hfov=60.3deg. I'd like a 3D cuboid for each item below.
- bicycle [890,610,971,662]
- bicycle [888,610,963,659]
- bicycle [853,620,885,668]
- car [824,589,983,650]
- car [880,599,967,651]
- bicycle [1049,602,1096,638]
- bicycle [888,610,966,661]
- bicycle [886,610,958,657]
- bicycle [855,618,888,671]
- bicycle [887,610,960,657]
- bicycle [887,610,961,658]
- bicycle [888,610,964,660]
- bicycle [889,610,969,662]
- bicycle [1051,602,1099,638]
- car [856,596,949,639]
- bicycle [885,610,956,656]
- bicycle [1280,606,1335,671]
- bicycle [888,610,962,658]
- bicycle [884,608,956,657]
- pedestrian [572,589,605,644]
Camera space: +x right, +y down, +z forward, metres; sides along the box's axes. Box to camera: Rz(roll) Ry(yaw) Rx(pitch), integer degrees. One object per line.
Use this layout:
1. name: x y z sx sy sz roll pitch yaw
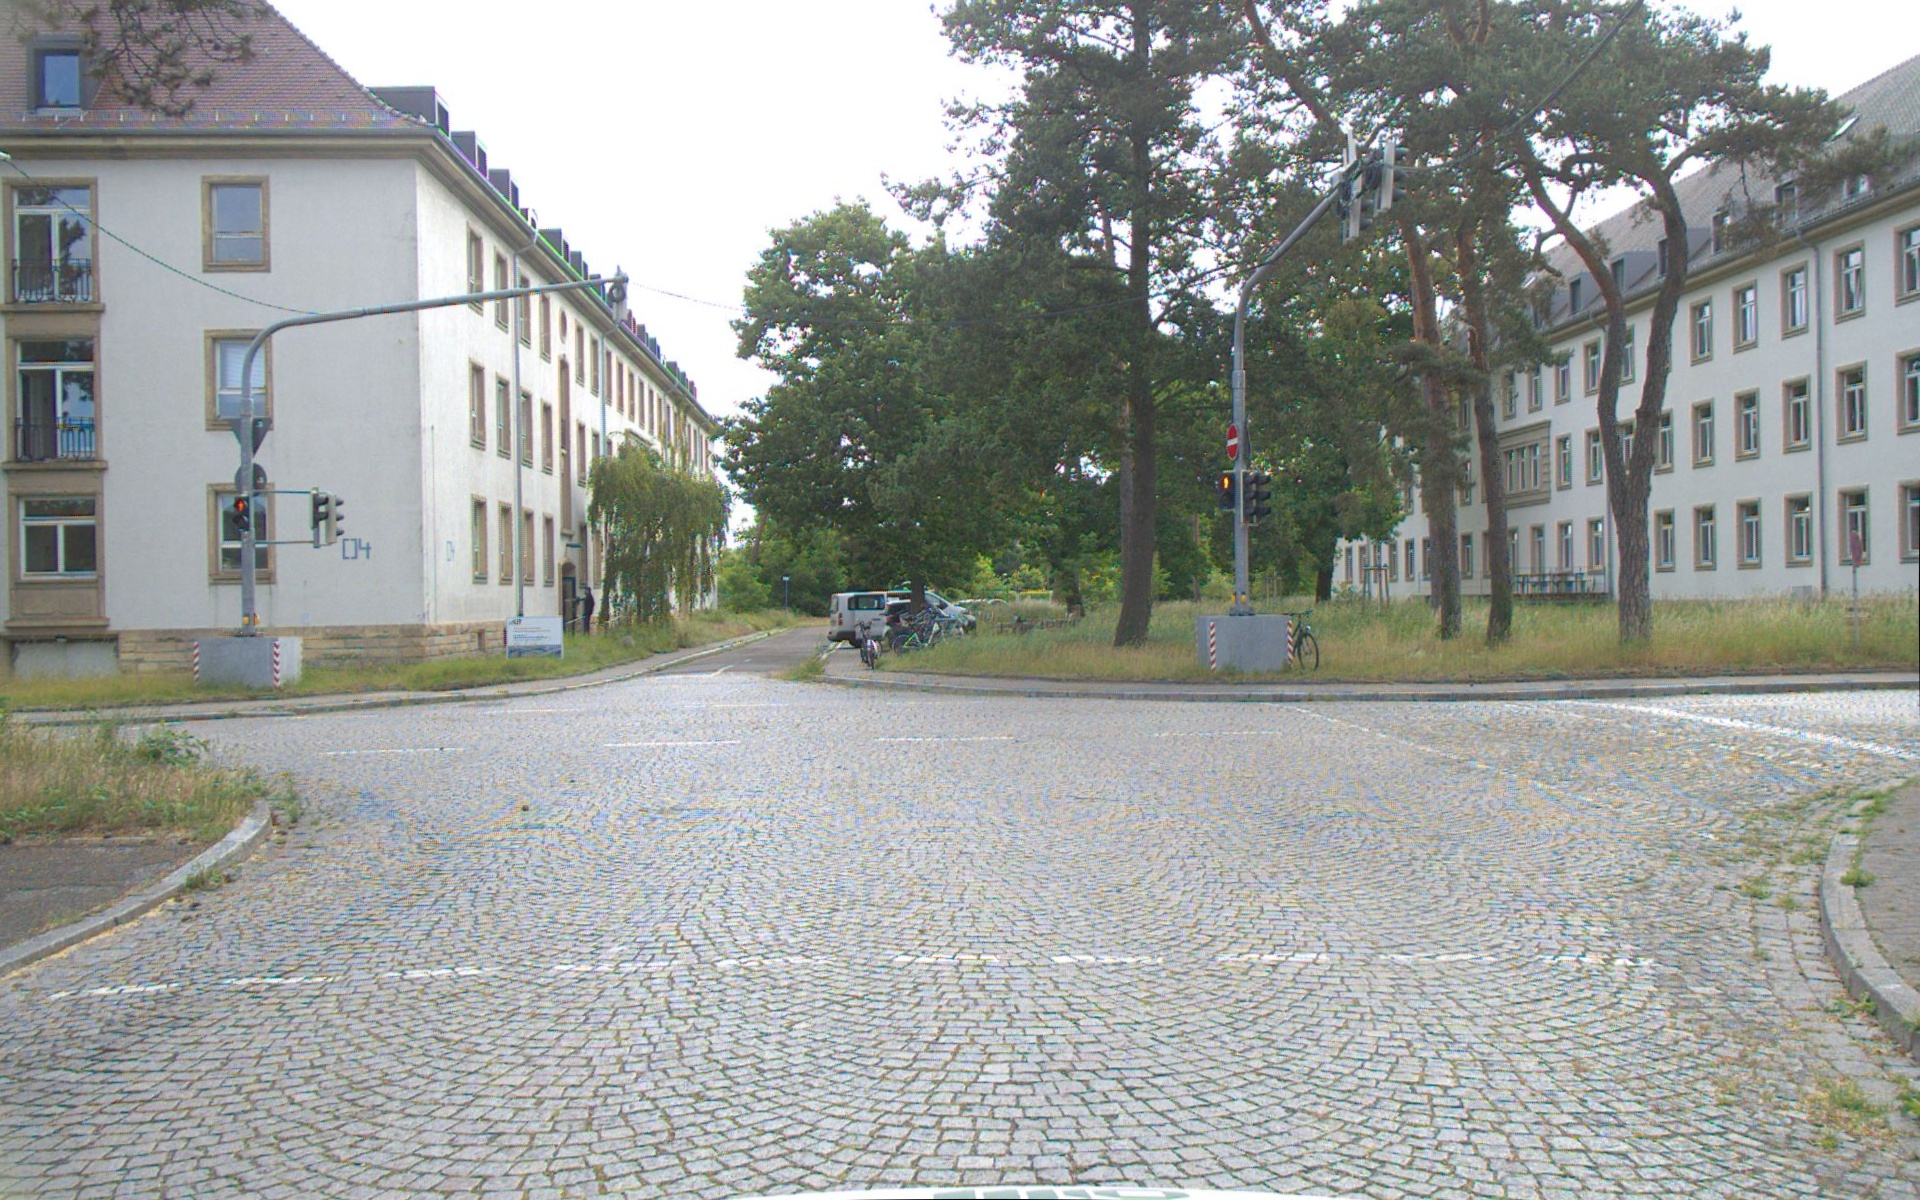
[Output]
1. bicycle: -0.734 0.871 40.276 1.943 1.269 0.624 0 -1 -5
2. bicycle: -0.913 0.895 43.317 1.943 1.269 0.624 0 -1 -5
3. bicycle: -2.135 1.013 38.783 0.609 1.101 1.678 0 -1 1
4. car: -2.013 0.668 58.329 5.221 1.949 2.139 -2 0 -18
5. car: -1.227 0.820 54.888 2.791 1.585 1.471 -2 1 -3
6. bicycle: 3.761 0.663 55.304 1.517 1.144 0.401 -1 0 -1
7. bicycle: -0.834 0.883 41.828 1.943 1.269 0.624 0 -1 -5
8. bicycle: -1.054 0.912 45.428 1.943 1.269 0.624 0 -1 -5
9. bicycle: -1.961 0.981 36.837 0.609 1.133 1.989 0 -1 0
10. bicycle: -1.004 0.908 44.917 1.943 1.269 0.624 0 -1 -5
11. bicycle: -0.967 0.903 44.288 1.943 1.269 0.624 0 -1 -5
12. bicycle: -0.883 0.890 42.685 1.943 1.269 0.624 0 -1 -5
13. bicycle: -0.769 0.876 40.904 1.943 1.269 0.624 0 -1 -5
14. bicycle: 3.754 0.657 54.071 1.517 1.144 0.401 -1 0 -1
15. car: -2.529 0.750 72.201 3.952 1.748 1.679 -1 -1 -4
16. bicycle: -1.098 0.916 45.920 1.943 1.269 0.624 0 -1 -5
17. bicycle: 5.910 0.640 28.175 0.568 0.987 1.678 -3 2 1
18. bicycle: -0.927 0.899 43.842 1.943 1.269 0.624 0 -1 -5
19. bicycle: -1.136 0.921 46.579 1.944 1.269 0.624 -3 0 -5
20. pedestrian: -12.494 0.562 55.623 0.820 1.812 0.941 -1 0 3
